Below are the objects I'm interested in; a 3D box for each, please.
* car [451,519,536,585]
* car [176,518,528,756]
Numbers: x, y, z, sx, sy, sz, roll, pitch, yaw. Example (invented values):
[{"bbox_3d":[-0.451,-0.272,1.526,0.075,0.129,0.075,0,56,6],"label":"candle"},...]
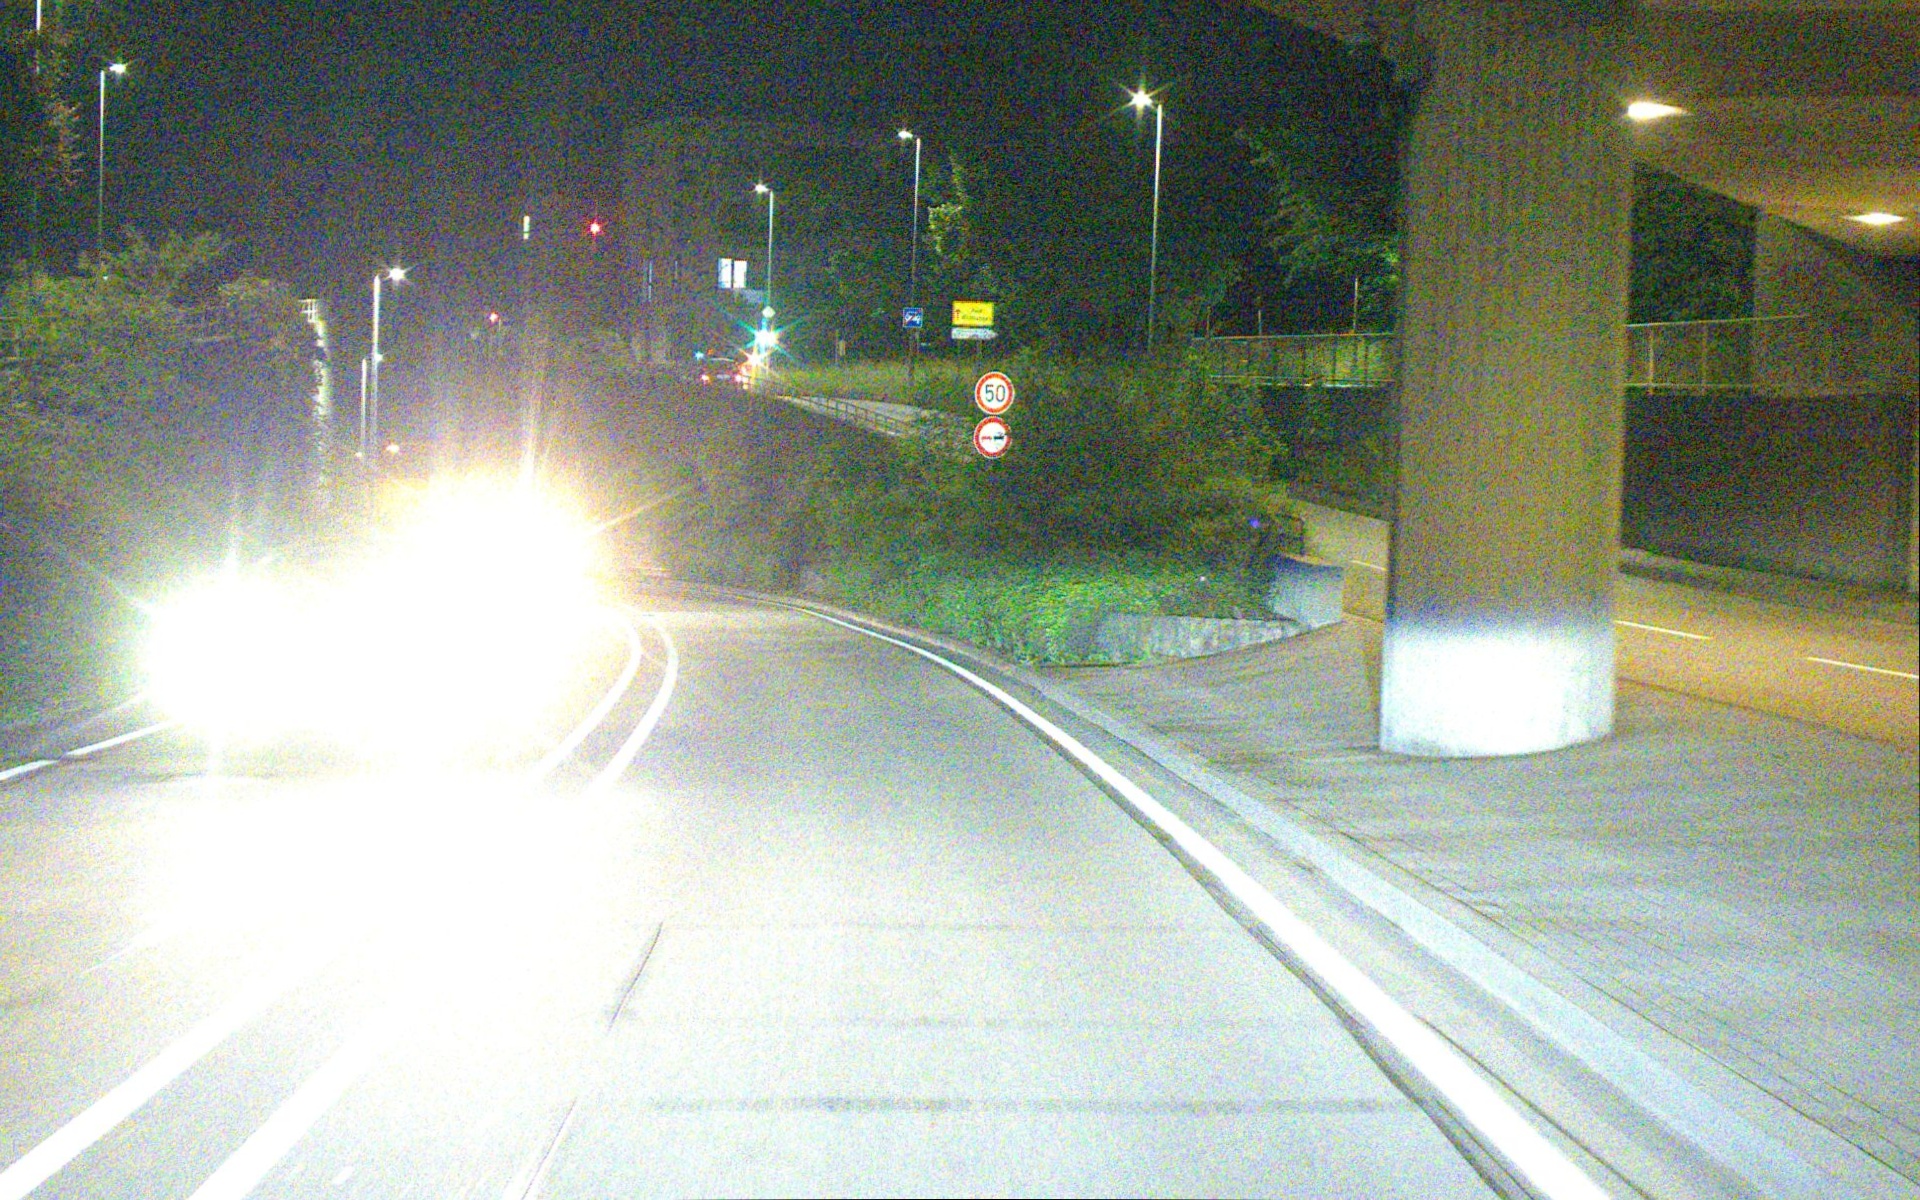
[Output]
[{"bbox_3d":[-10.841,-1.127,80.109,1.858,1.505,4.001,0,1,-6],"label":"car"},{"bbox_3d":[-4.078,0.220,23.681,1.787,1.442,4.172,2,0,-2],"label":"car"}]
